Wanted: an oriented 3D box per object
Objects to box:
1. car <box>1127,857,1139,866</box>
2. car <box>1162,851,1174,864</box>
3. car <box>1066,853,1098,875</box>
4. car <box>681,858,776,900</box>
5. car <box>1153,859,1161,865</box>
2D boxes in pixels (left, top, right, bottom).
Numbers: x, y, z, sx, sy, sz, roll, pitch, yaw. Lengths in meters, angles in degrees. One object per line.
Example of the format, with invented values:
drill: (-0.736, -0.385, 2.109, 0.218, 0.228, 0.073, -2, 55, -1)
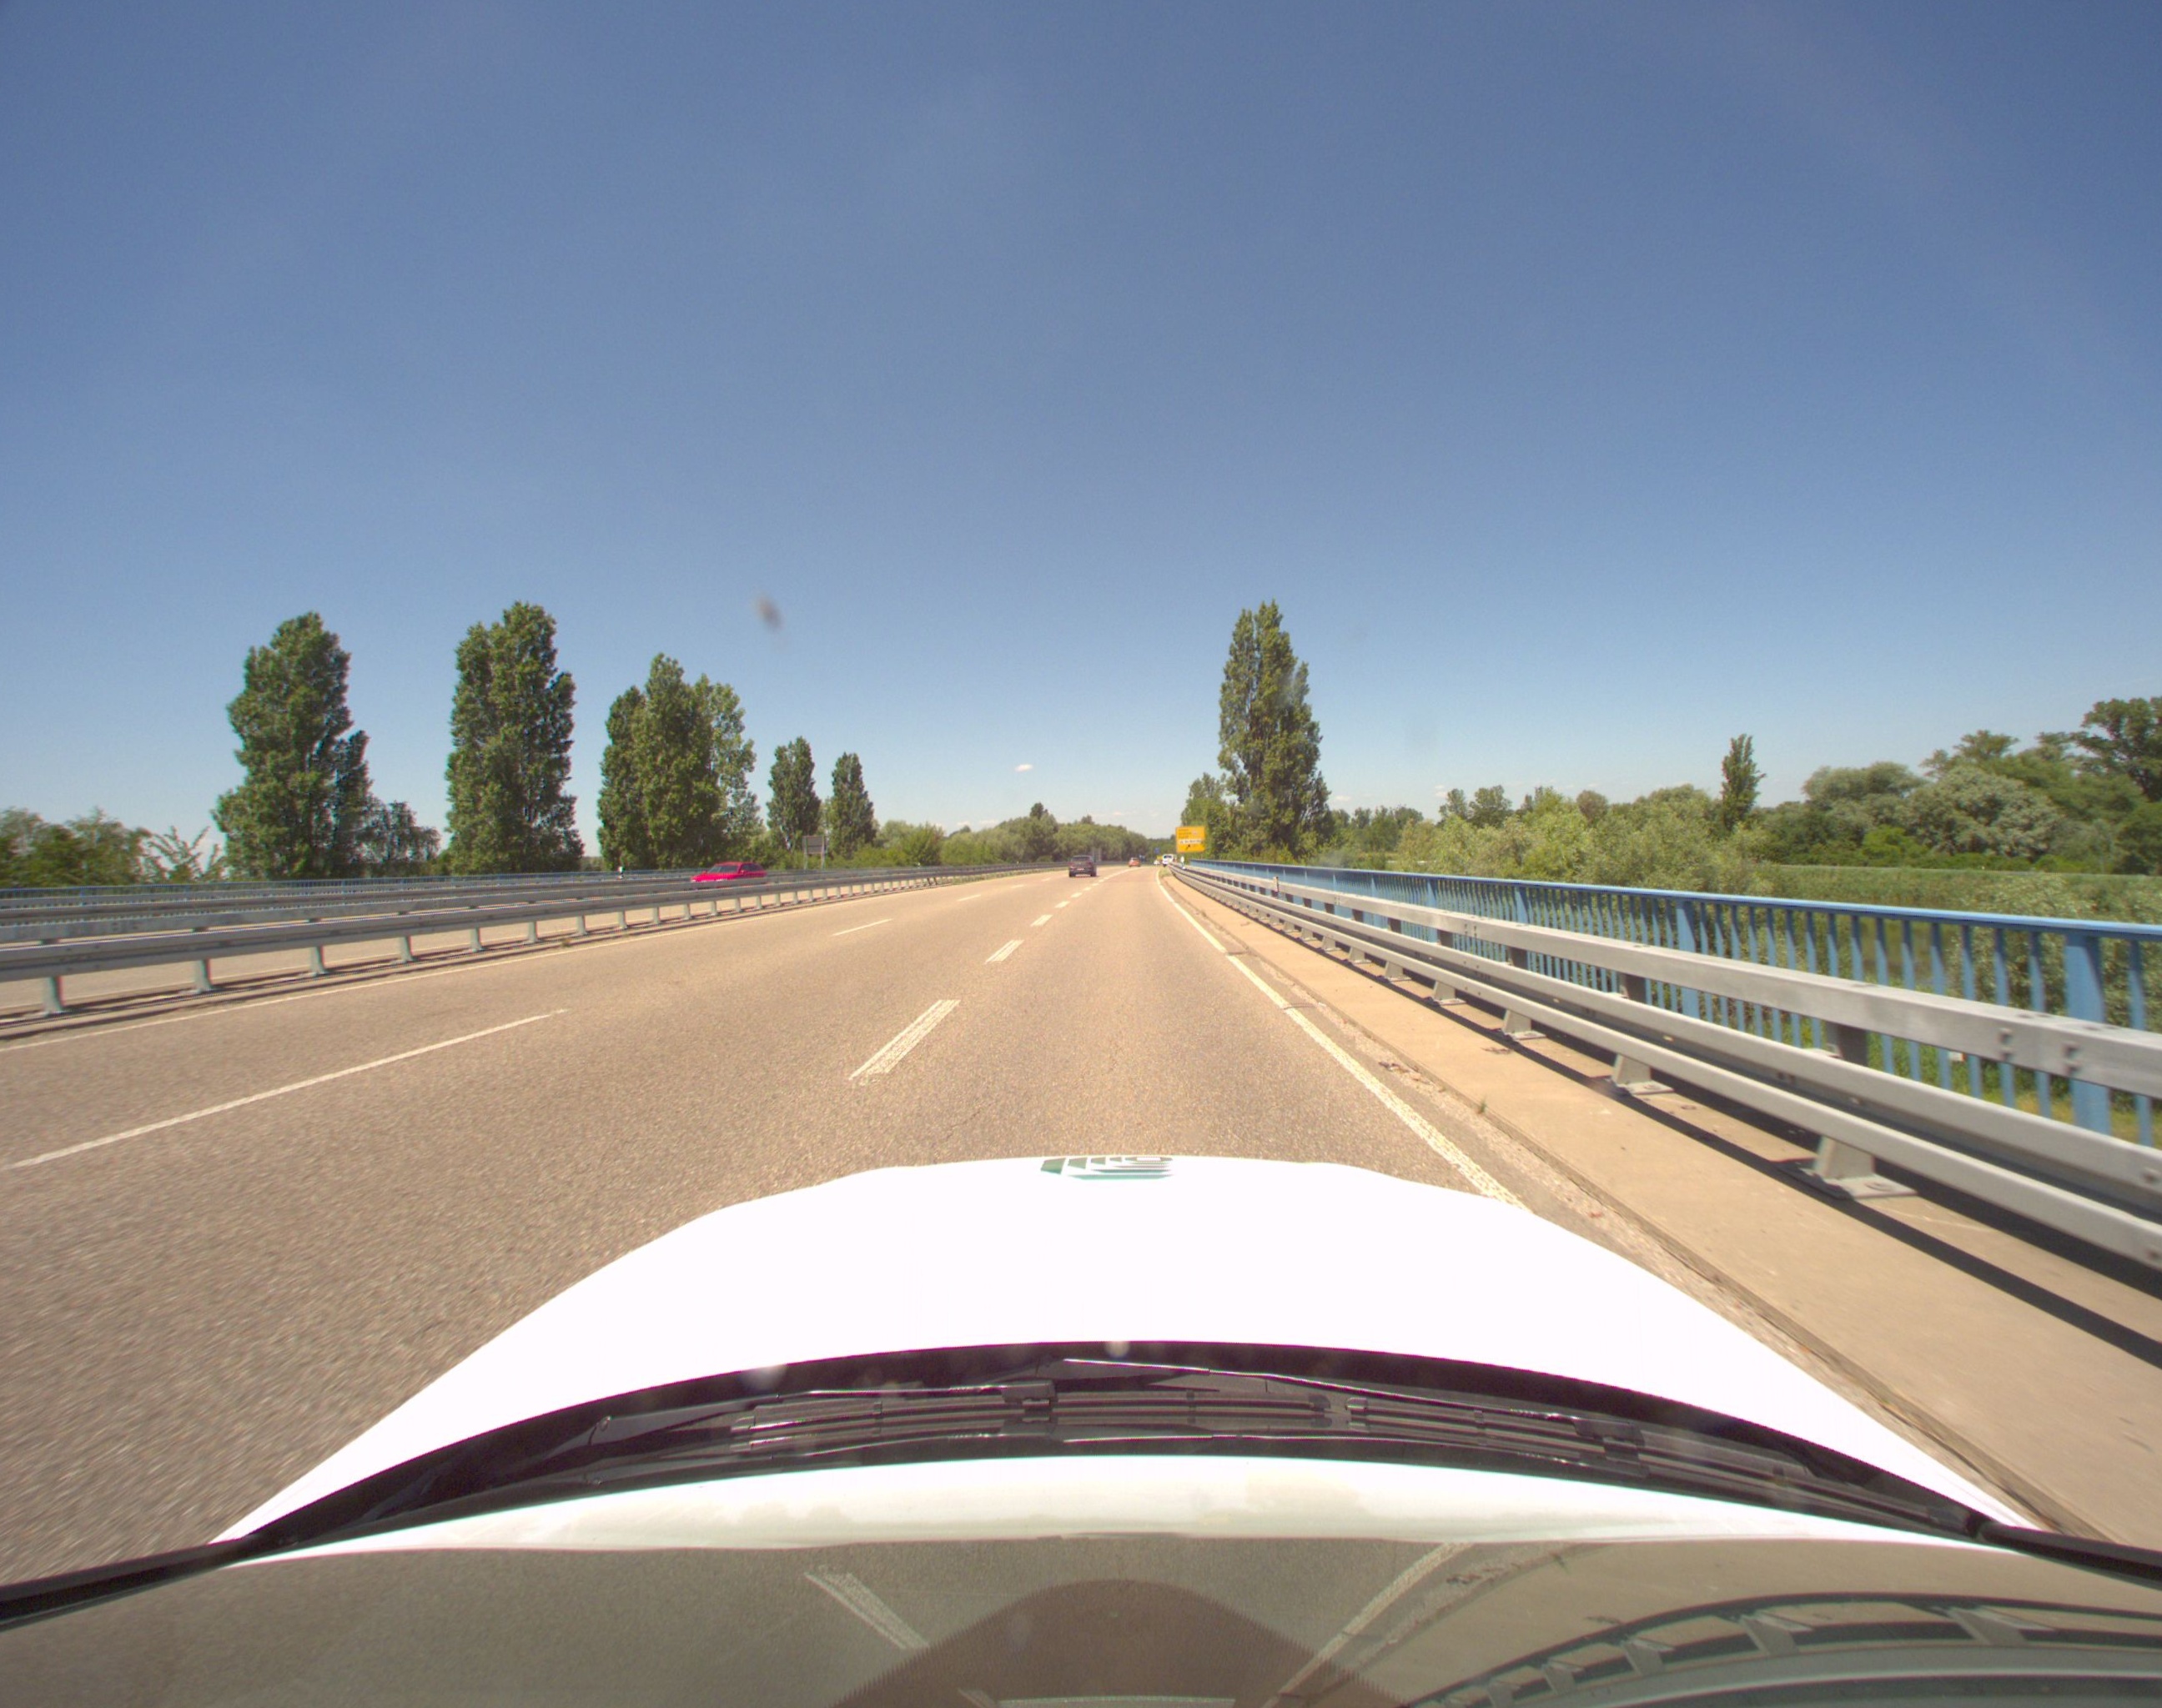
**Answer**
car: (8.536, 1.248, 133.467, 1.833, 1.464, 4.005, 0, 0, 4)
car: (13.425, 0.510, 126.162, 1.832, 1.895, 4.006, 0, 0, 5)
car: (0.114, 0.718, 59.321, 1.831, 1.530, 4.479, 0, 0, 7)
car: (-15.578, 1.059, 36.328, 1.836, 1.668, 5.053, -2, -1, 2)
car: (19.402, 2.026, 207.991, 1.829, 1.451, 4.012, 0, 0, 10)
